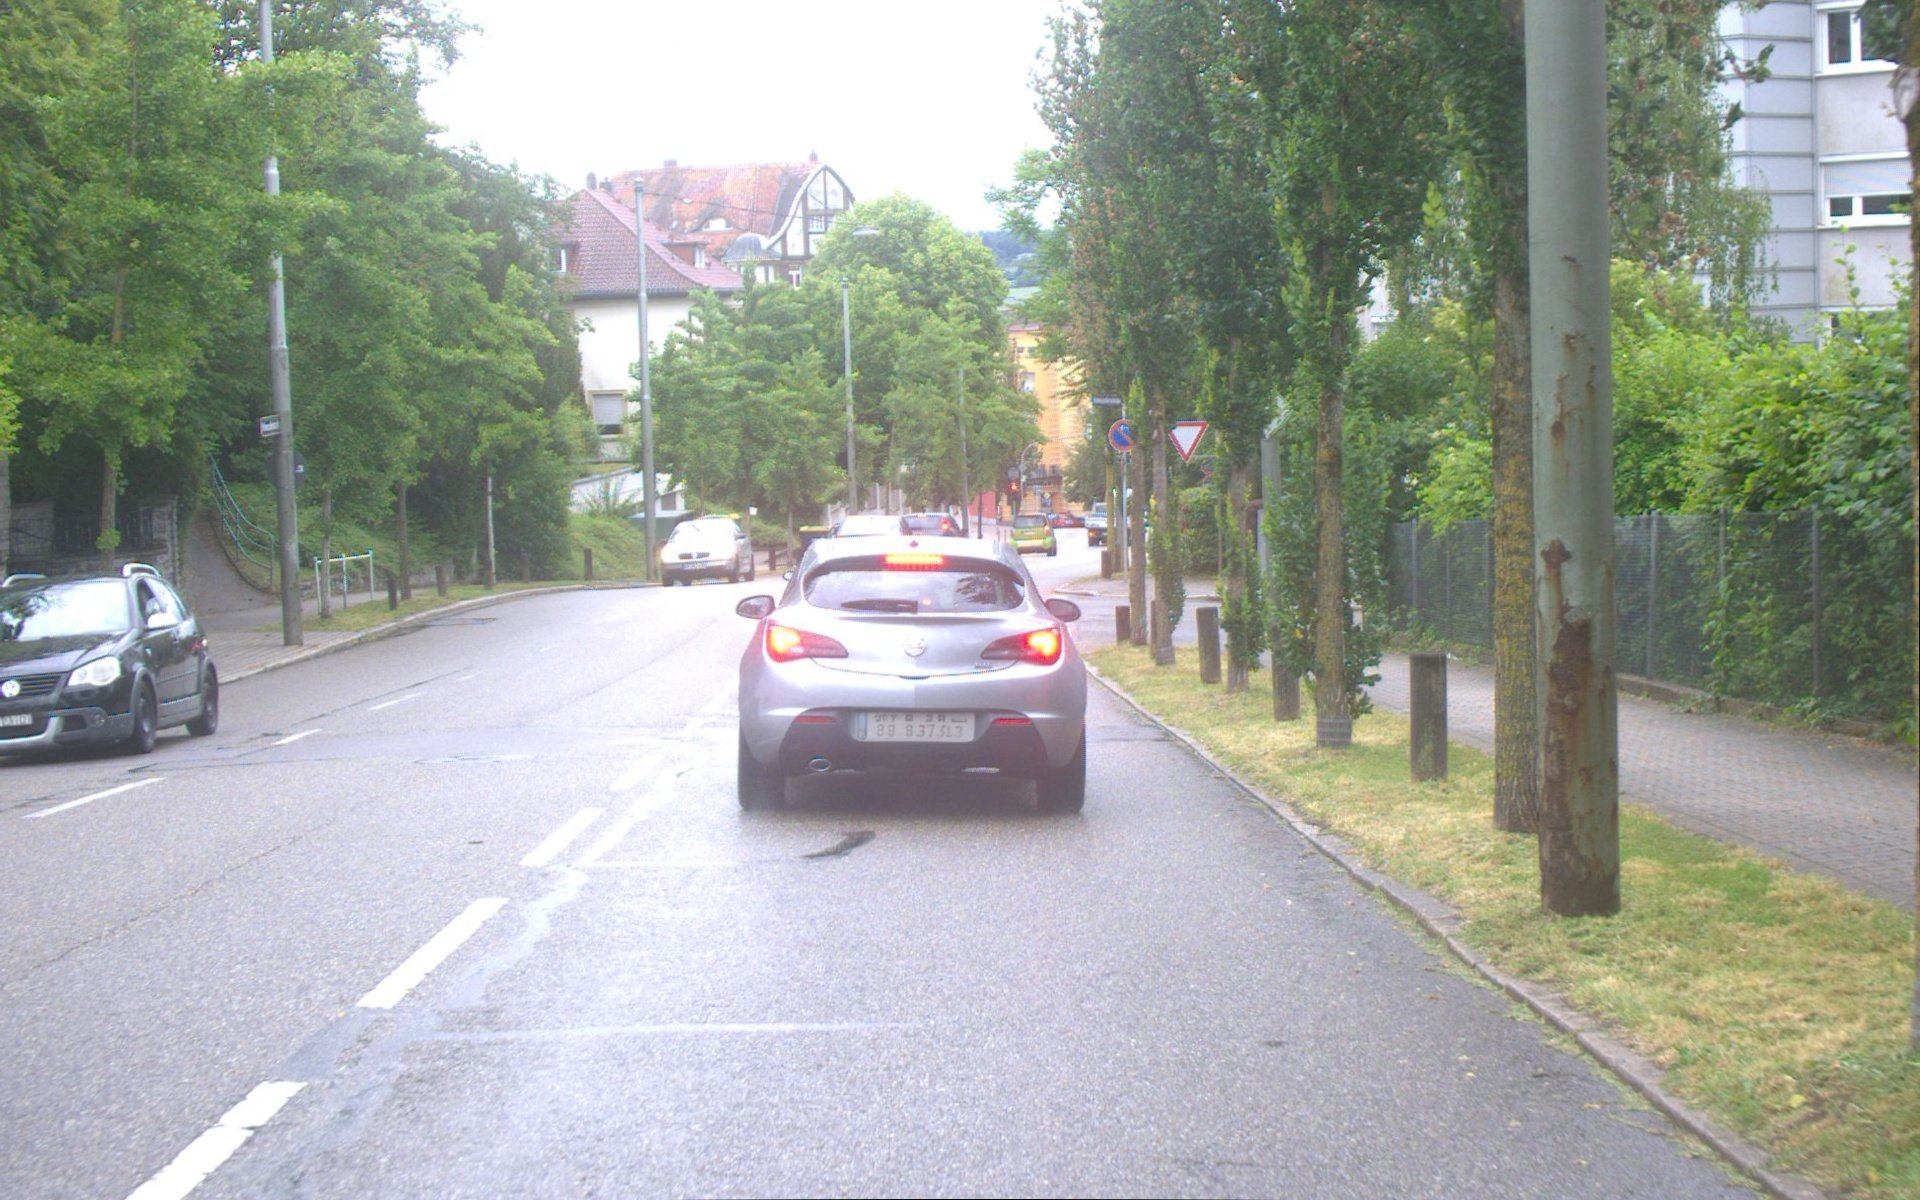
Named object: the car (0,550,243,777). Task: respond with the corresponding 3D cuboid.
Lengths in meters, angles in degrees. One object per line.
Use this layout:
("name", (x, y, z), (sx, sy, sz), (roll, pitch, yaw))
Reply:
("car", (-7.004, 0.468, 26.937), (1.745, 1.543, 3.918), (-5, 1, 1))

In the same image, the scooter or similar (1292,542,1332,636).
("scooter or similar", (4.767, -0.156, 46.581), (0.342, 1.250, 1.268), (1, 1, -2))

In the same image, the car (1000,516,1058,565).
("car", (2.443, -2.102, 120.934), (1.754, 1.645, 4.000), (1, 2, 5))

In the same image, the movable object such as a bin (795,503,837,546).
("movable object such as a bin", (-4.666, -2.455, 111.446), (1.272, 1.382, 0.489), (0, 2, 5))

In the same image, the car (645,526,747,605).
("car", (-5.744, -0.778, 75.071), (1.765, 1.481, 3.801), (-4, 3, 1))

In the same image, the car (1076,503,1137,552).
("car", (6.624, -3.283, 155.019), (2.334, 2.029, 4.734), (1, 3, 7))

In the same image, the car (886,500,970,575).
("car", (-0.795, -1.613, 87.830), (1.769, 1.775, 3.976), (1, 3, 5))

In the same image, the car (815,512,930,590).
("car", (-1.783, -1.039, 71.510), (1.961, 1.467, 3.951), (1, 3, 5))

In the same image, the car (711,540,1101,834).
("car", (-0.291, 0.405, 19.222), (1.945, 1.427, 3.884), (1, 1, -1))

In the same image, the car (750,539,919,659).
("car", (-1.478, -0.049, 41.764), (1.798, 1.318, 4.000), (-1, 2, 1))

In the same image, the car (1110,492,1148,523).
("car", (10.316, -5.643, 209.323), (1.994, 1.778, 3.999), (1, 3, 7))
